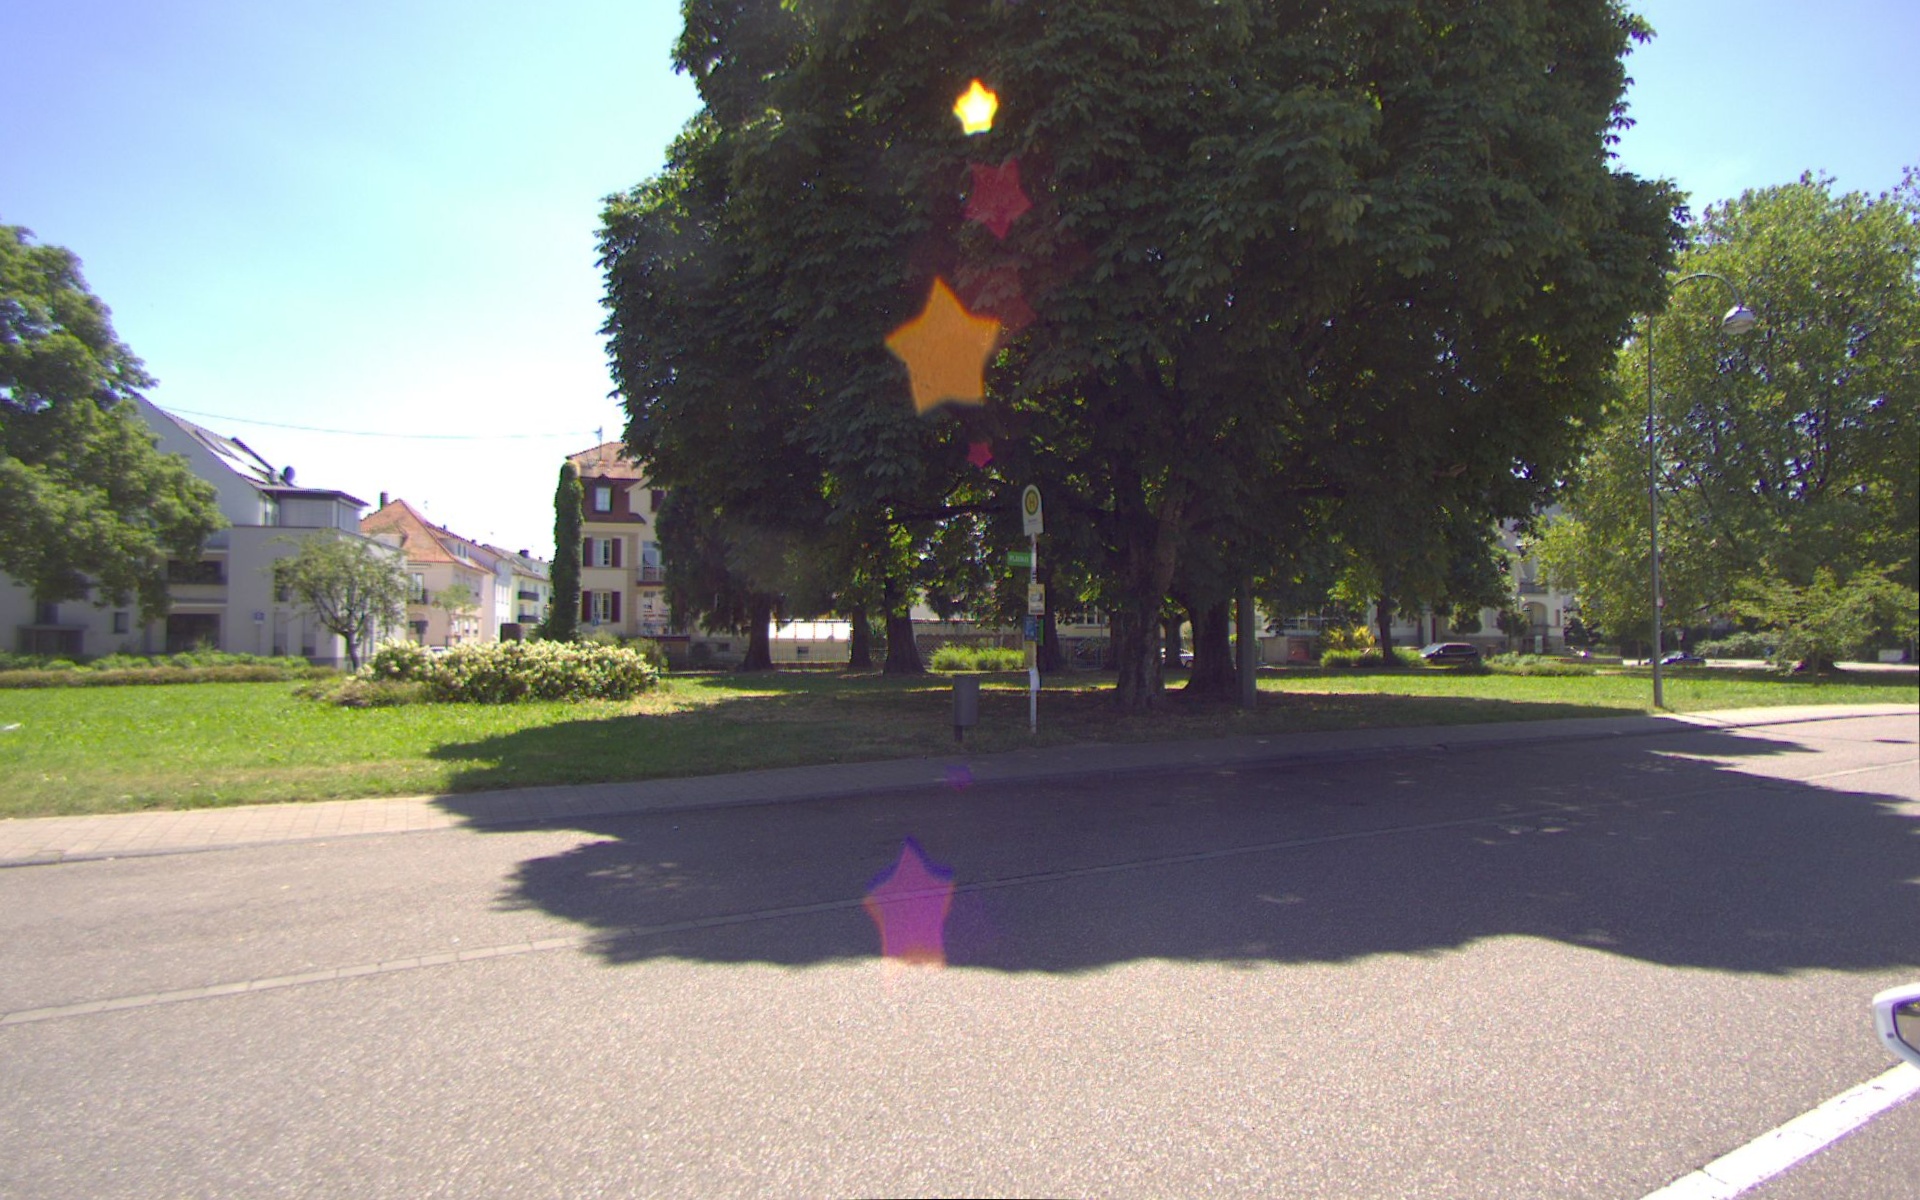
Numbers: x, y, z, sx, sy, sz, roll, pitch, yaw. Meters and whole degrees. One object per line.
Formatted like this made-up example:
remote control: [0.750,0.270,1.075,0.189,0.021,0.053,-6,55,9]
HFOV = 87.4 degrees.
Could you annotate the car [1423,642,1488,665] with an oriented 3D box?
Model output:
car: [32.190,3.457,65.287,3.739,1.429,1.551,1,-2,-15]

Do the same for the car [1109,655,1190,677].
car: [12.250,4.250,65.102,4.801,1.367,1.989,1,-2,-12]

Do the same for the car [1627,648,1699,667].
car: [48.073,3.921,68.702,3.918,1.328,1.819,0,-2,-11]
